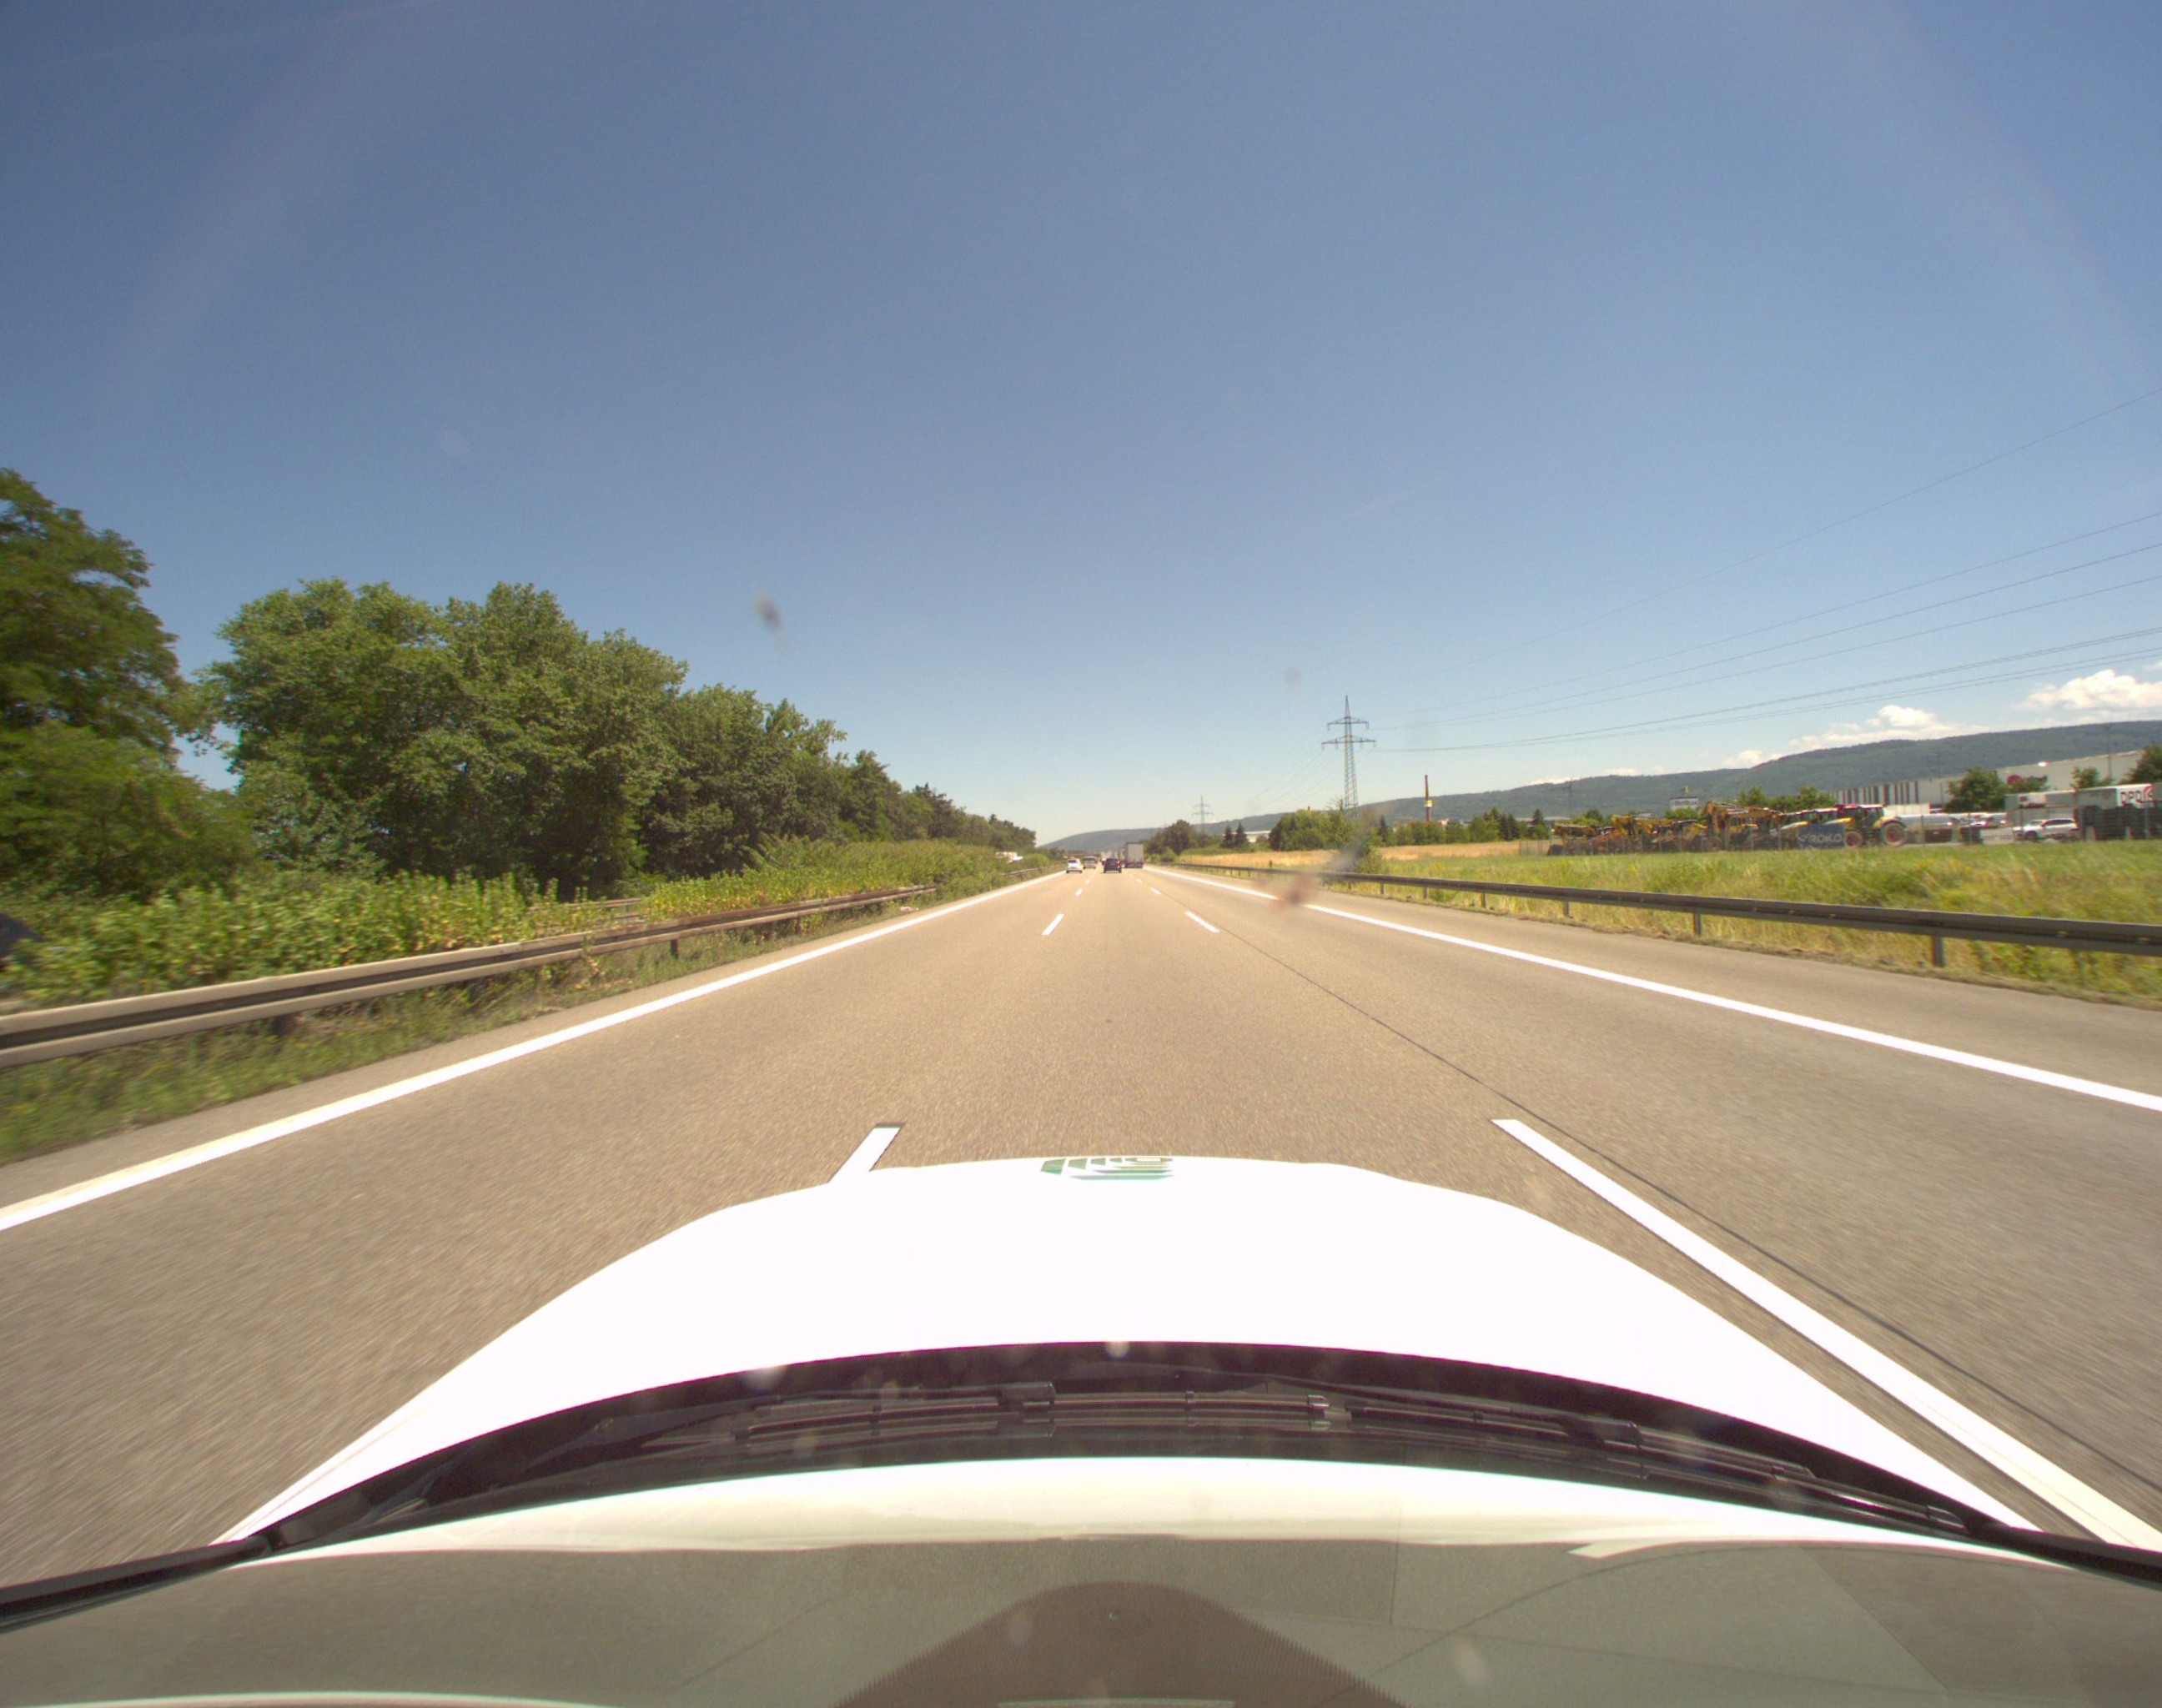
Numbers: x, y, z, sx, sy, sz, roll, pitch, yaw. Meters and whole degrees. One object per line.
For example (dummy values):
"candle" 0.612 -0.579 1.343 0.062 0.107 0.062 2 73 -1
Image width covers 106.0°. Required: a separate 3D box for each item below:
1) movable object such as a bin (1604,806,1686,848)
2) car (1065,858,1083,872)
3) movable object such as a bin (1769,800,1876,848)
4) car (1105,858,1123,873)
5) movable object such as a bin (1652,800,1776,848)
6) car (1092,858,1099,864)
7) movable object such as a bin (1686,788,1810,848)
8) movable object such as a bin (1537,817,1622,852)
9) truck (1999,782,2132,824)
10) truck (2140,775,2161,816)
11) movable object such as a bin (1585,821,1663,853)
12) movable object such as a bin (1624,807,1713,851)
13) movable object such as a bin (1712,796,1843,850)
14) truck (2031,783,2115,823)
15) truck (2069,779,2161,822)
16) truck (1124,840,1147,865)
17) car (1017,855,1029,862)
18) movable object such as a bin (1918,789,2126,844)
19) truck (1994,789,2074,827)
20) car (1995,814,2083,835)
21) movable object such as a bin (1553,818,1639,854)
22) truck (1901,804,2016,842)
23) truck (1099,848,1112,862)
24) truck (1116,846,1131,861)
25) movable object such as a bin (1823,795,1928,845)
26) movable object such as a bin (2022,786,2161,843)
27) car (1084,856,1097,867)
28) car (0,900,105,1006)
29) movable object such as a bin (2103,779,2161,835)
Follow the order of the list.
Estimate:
"movable object such as a bin" 56.479 -2.628 81.696 6.313 3.732 2.278 -4 -1 7
"car" -0.732 1.156 89.457 1.800 1.468 4.002 0 0 2
"movable object such as a bin" 56.390 -2.235 62.035 5.226 3.293 2.795 -4 0 8
"car" 3.462 1.199 86.732 1.878 1.515 4.002 0 0 2
"movable object such as a bin" 57.175 -2.624 73.782 8.139 3.732 3.345 -4 0 8
"car" 4.132 1.940 232.262 1.845 1.633 4.002 0 0 2
"movable object such as a bin" 57.075 -2.996 69.873 7.474 4.527 3.110 -4 -1 8
"movable object such as a bin" 56.703 -2.185 92.797 7.505 3.402 3.057 -4 0 7
"truck" 79.107 -4.050 65.580 6.315 2.821 3.351 -3 -1 4
"truck" 89.951 -4.873 66.092 5.324 3.208 2.839 -3 -1 -13
"movable object such as a bin" 56.699 -1.747 85.187 6.313 2.880 2.278 -4 0 7
"movable object such as a bin" 56.328 -2.348 78.216 6.313 3.732 2.500 -4 -1 7
"movable object such as a bin" 56.501 -2.445 66.276 7.474 3.783 3.110 -4 0 8
"truck" 94.689 -4.817 77.732 5.708 3.418 2.760 -3 -1 -13
"truck" 93.199 -4.805 73.255 5.708 3.418 3.196 -3 -1 -13
"truck" 8.557 -0.210 129.225 3.254 3.857 11.634 0 0 1
"car" -10.517 0.817 148.407 1.780 1.401 4.330 0 0 2
"movable object such as a bin" 56.891 -2.217 49.512 7.773 2.688 3.190 -4 0 14
"truck" 96.849 -4.695 82.803 5.708 3.418 2.899 -3 -1 -13
"car" 73.431 -2.254 62.481 4.210 1.552 1.701 0 0 13
"movable object such as a bin" 55.953 -1.961 88.623 7.505 3.402 2.278 -4 -1 7
"truck" 78.142 -2.724 72.632 6.315 2.821 3.351 -3 -1 4
"truck" 5.917 0.227 197.441 3.086 3.474 11.545 0 0 1
"truck" 9.884 -0.141 189.997 3.086 3.474 11.545 0 0 1
"movable object such as a bin" 56.521 -2.362 58.014 4.786 3.196 2.303 -4 -1 8
"movable object such as a bin" 56.670 -2.201 43.456 7.758 2.688 3.196 -4 0 25
"car" 1.482 1.065 124.146 1.845 1.633 4.002 0 0 2
"car" -15.850 1.405 10.278 1.780 1.401 4.330 0 0 2
"movable object such as a bin" 55.976 -2.518 39.205 7.758 2.688 3.196 -4 0 25
